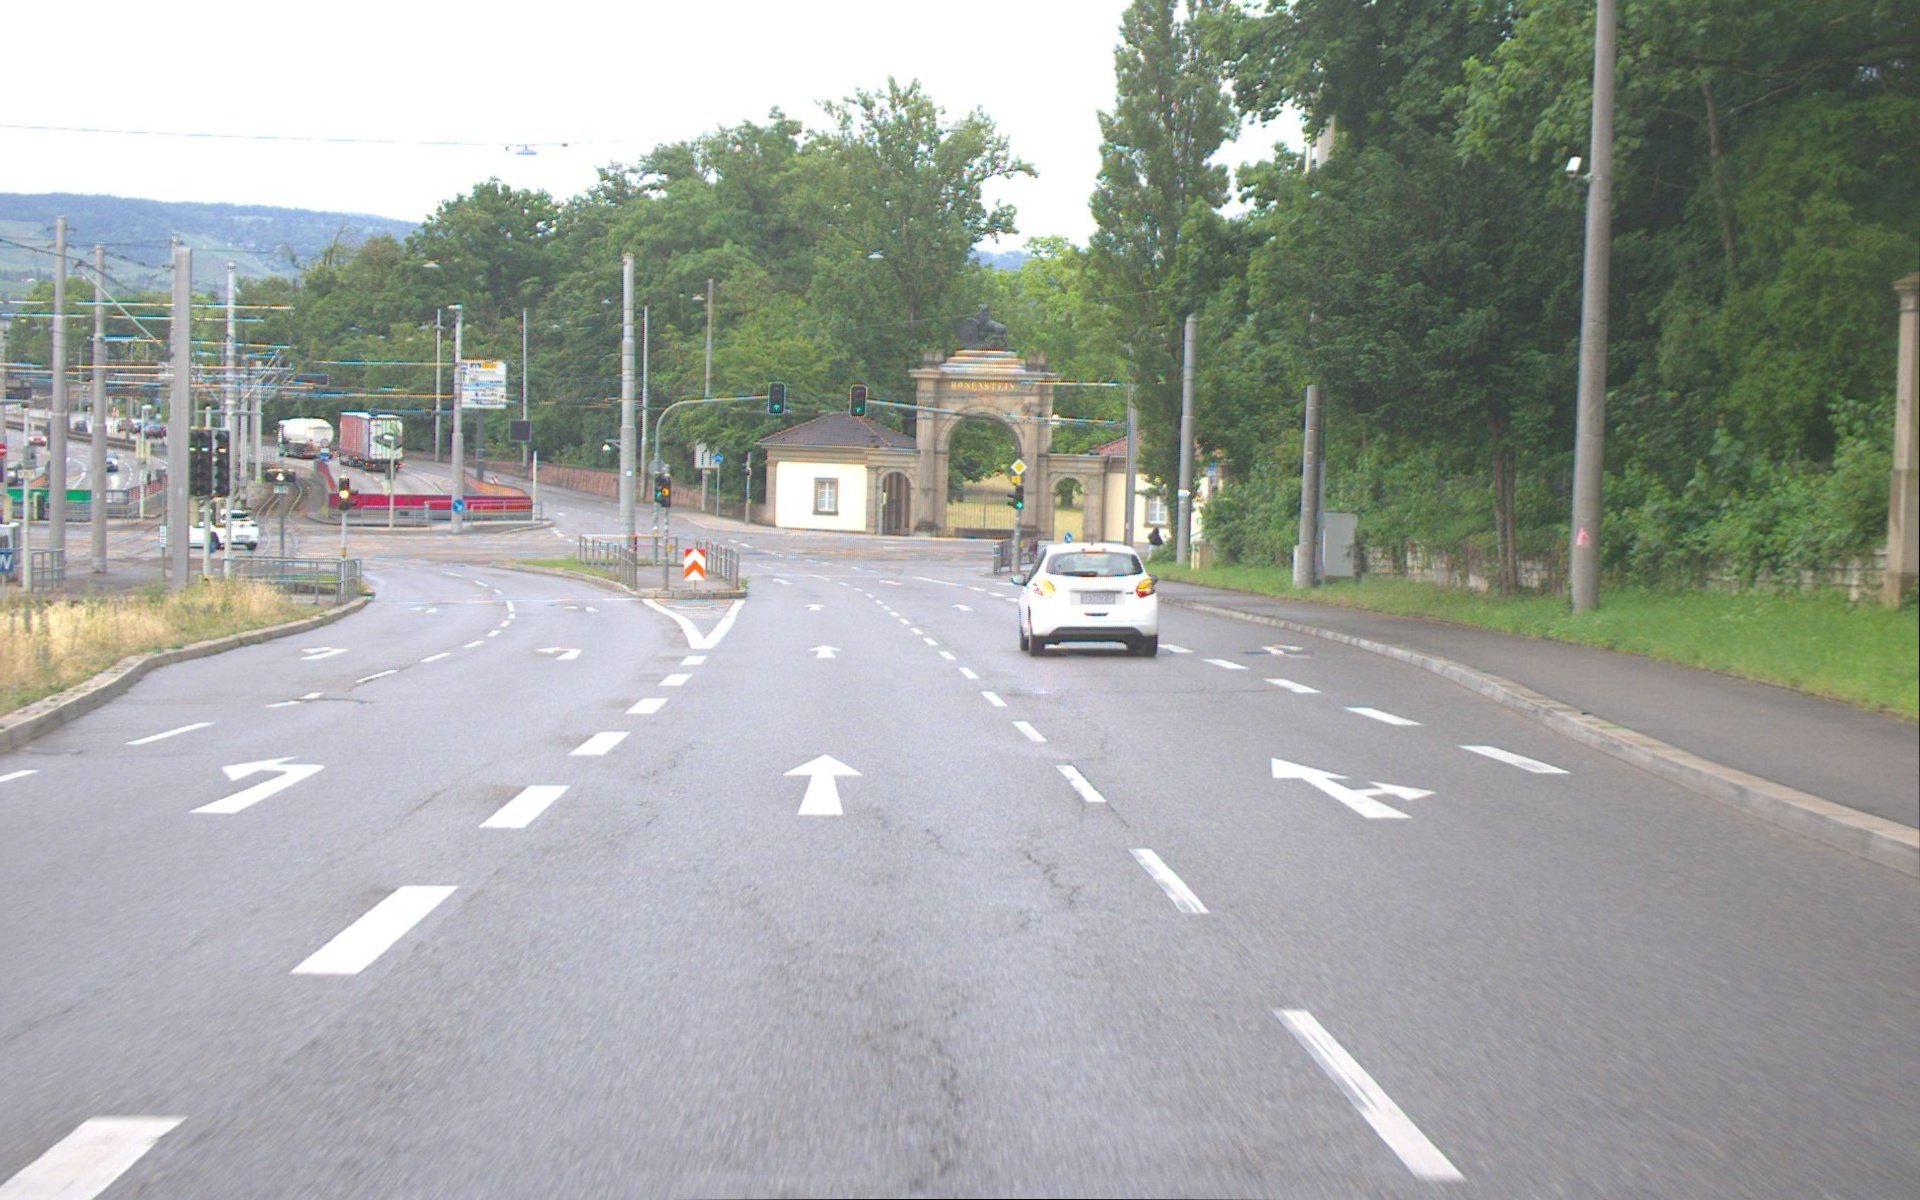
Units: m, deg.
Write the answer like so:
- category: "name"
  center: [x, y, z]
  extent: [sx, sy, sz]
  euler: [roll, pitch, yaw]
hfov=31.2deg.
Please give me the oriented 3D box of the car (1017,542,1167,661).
- category: "car"
  center: [1.712, 0.002, 45.797]
  extent: [1.868, 1.506, 3.900]
  euler: [0, 1, 0]

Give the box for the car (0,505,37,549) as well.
- category: "car"
  center: [-38.171, -2.884, 134.652]
  extent: [3.997, 1.700, 1.995]
  euler: [2, 2, 41]

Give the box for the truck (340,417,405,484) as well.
- category: "truck"
  center: [-43.499, -11.015, 254.280]
  extent: [3.413, 4.555, 11.291]
  euler: [4, 1, -15]

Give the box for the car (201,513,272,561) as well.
- category: "car"
  center: [-26.410, -2.321, 125.387]
  extent: [1.822, 1.600, 4.001]
  euler: [1, 2, -22]
